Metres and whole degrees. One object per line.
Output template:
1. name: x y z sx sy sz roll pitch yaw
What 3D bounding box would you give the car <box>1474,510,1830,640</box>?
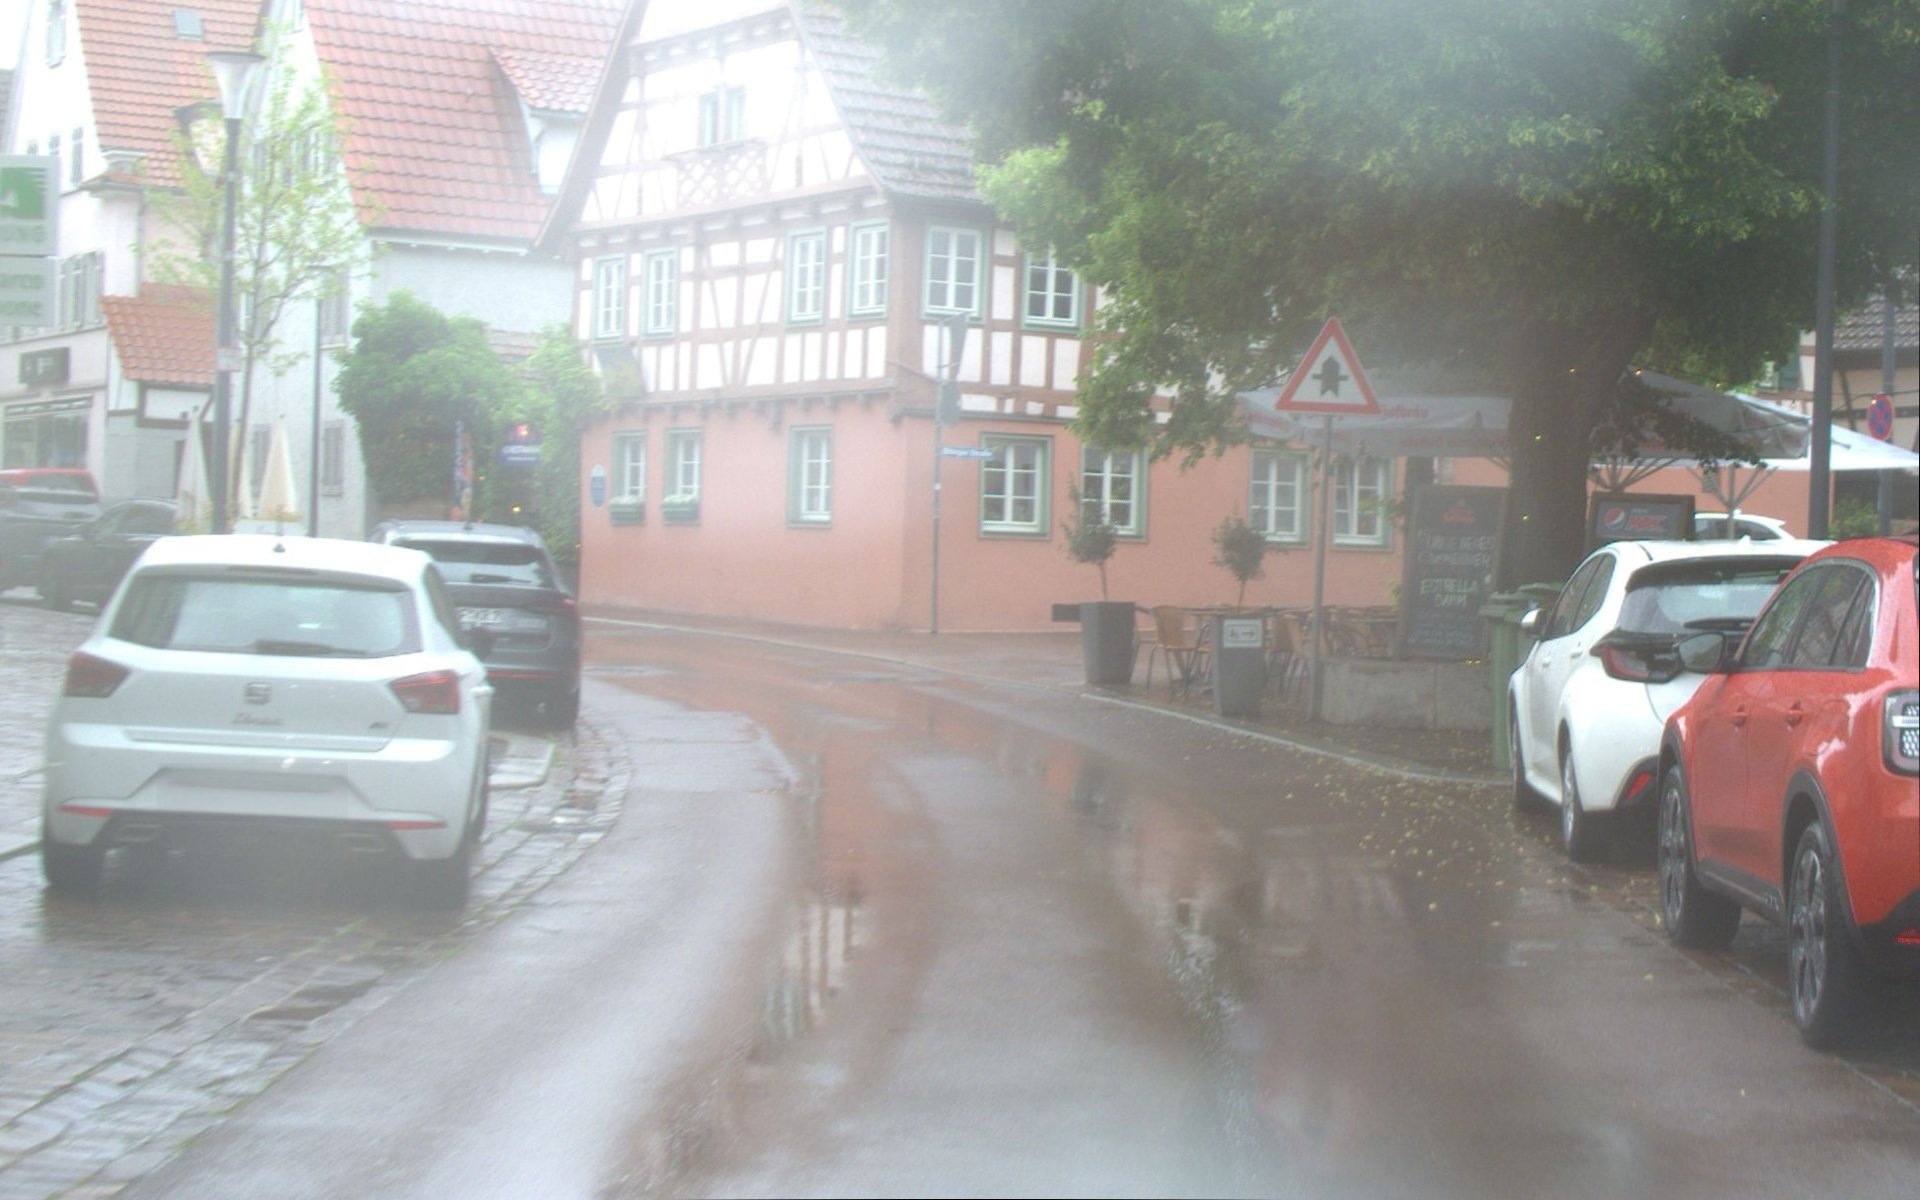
1. car: 9.552 -0.348 47.386 4.600 1.627 2.000 0 4 -31

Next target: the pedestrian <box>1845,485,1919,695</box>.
1. pedestrian: 7.755 -0.080 28.187 0.911 1.692 0.861 1 0 18

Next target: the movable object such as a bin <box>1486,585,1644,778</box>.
1. movable object such as a bin: 3.548 0.471 20.192 0.725 1.089 0.611 3 -1 -7

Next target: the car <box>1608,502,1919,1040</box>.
1. car: 3.399 0.518 11.358 1.787 1.463 3.949 2 0 1

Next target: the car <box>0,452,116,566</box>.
1. car: -16.260 -1.648 60.275 1.893 1.805 4.001 4 1 -27

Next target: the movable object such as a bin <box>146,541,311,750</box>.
1. movable object such as a bin: -4.193 0.260 19.743 0.700 1.118 0.719 5 -1 1

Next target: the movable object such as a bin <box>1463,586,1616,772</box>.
1. movable object such as a bin: 3.512 0.475 20.871 0.725 1.079 0.605 3 -1 -7

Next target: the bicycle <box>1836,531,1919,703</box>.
1. bicycle: 7.715 0.118 28.100 0.925 1.346 2.214 1 1 18

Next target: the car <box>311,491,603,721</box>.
1. car: -3.935 0.046 26.352 1.875 1.535 4.401 3 0 -12

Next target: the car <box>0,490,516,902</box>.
1. car: -2.941 0.309 15.126 1.849 1.447 4.074 3 2 -7

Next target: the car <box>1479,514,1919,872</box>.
1. car: 3.731 0.379 17.220 1.787 1.550 3.949 1 1 2
